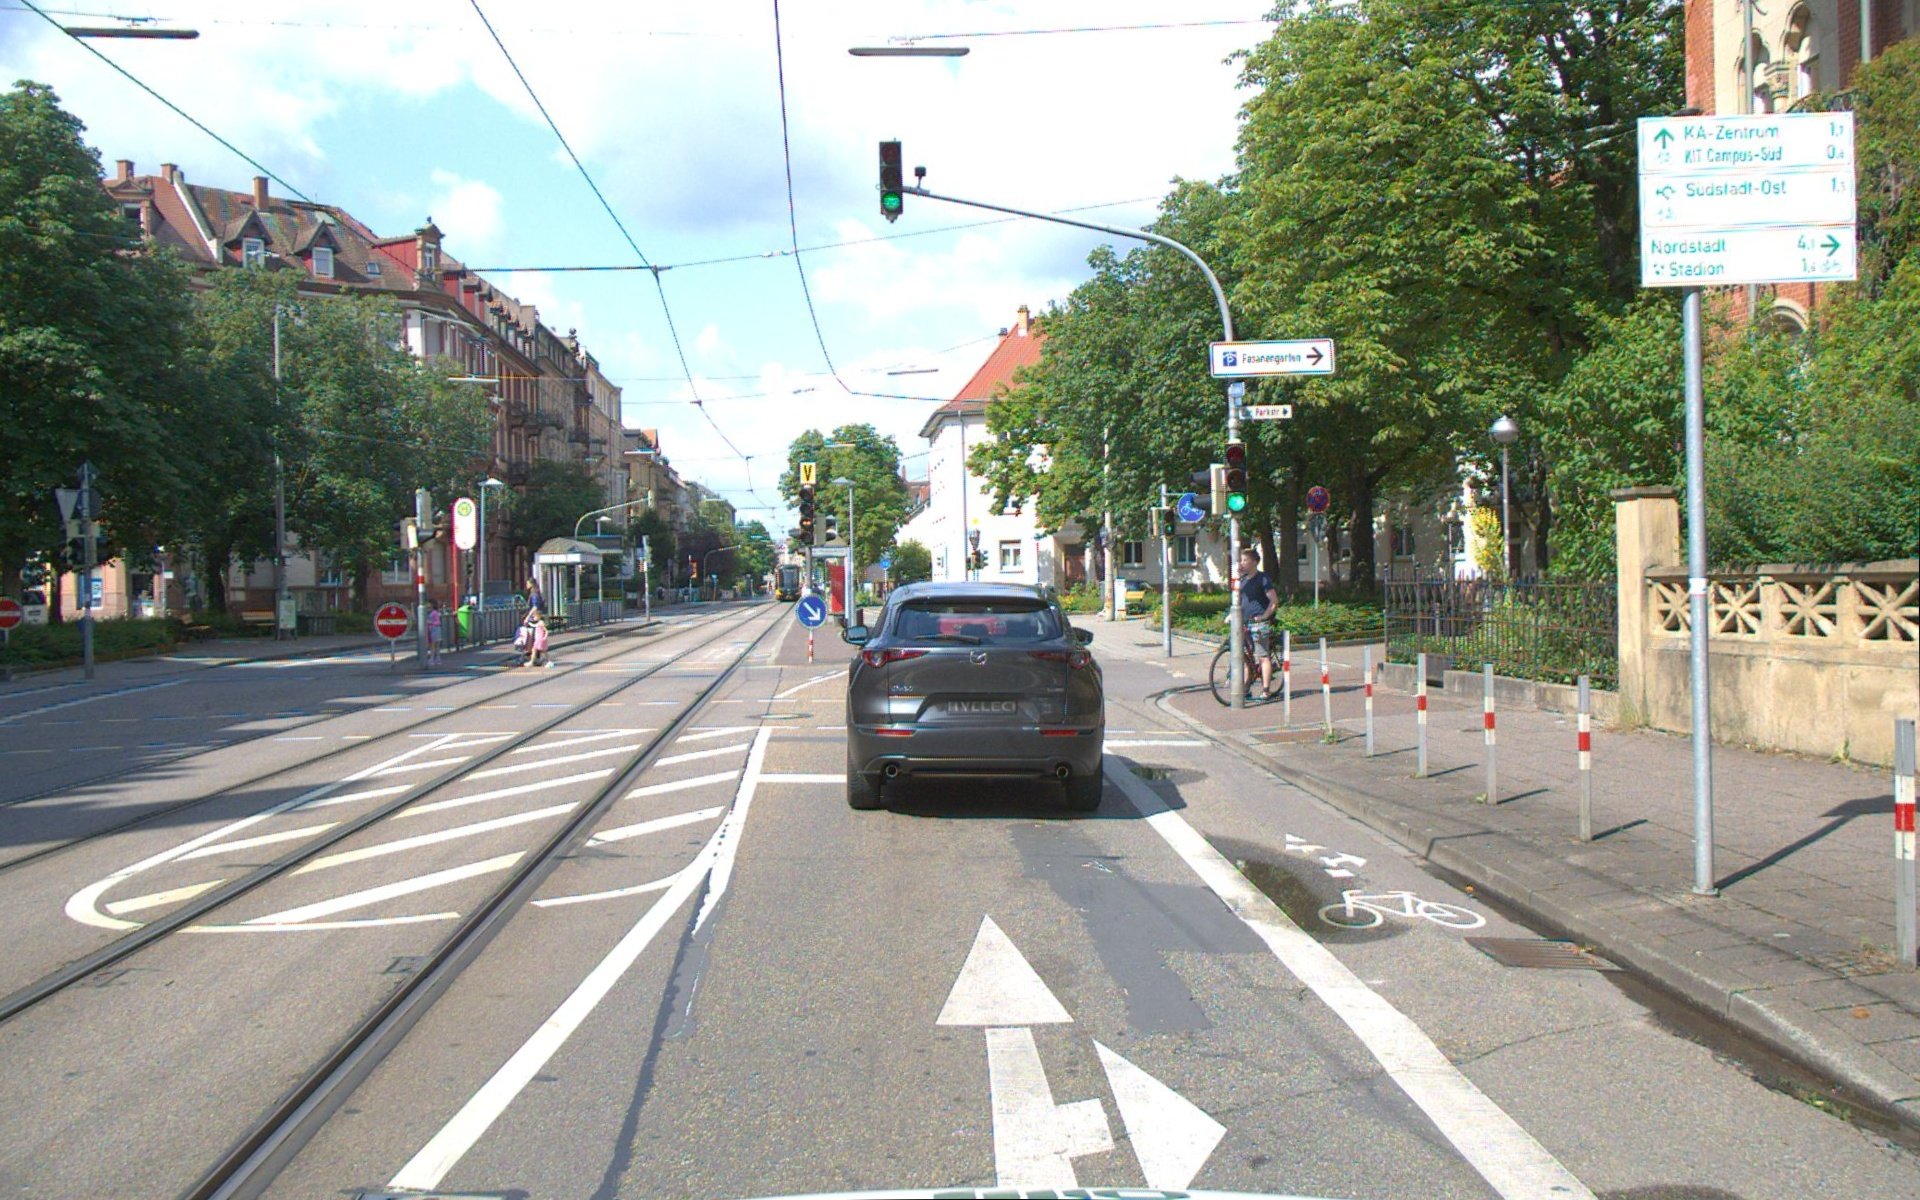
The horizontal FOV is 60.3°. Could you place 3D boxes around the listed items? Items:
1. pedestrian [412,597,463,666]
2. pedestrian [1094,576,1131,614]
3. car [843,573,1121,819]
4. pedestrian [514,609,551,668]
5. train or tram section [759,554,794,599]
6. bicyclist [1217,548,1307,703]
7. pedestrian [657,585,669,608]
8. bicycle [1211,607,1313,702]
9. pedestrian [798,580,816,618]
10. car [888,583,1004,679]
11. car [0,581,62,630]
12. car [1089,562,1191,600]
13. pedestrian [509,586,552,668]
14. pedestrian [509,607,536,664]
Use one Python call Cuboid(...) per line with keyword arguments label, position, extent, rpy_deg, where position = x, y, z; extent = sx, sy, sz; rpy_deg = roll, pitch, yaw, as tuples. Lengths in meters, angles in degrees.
Cuboid(label="pedestrian", position=(-10.532, 0.631, 33.370), extent=(0.810, 1.326, 0.716), rpy_deg=(-3, 1, -10))
Cuboid(label="pedestrian", position=(5.461, -0.193, 59.192), extent=(1.170, 1.291, 0.556), rpy_deg=(-4, 1, -10))
Cuboid(label="car", position=(0.115, 0.606, 12.515), extent=(1.746, 1.540, 3.999), rpy_deg=(1, 0, -1))
Cuboid(label="pedestrian", position=(-8.336, 0.745, 32.242), extent=(0.629, 1.133, 0.443), rpy_deg=(-1, 0, -10))
Cuboid(label="train or tram section", position=(-18.092, -2.224, 163.815), extent=(2.939, 4.053, 13.795), rpy_deg=(-1, 0, -4))
Cuboid(label="bicyclist", position=(3.714, 0.296, 20.387), extent=(0.724, 1.851, 0.813), rpy_deg=(-1, 0, -27))
Cuboid(label="pedestrian", position=(-22.354, -0.238, 124.368), extent=(0.772, 1.718, 0.731), rpy_deg=(-1, 0, -3))
Cuboid(label="bicycle", position=(3.759, 0.652, 20.501), extent=(0.382, 1.053, 1.836), rpy_deg=(-1, 1, 39))
Cuboid(label="pedestrian", position=(-6.812, -0.045, 73.749), extent=(0.756, 1.704, 0.667), rpy_deg=(-1, 0, -6))
Cuboid(label="car", position=(-0.297, 0.462, 27.512), extent=(1.740, 1.489, 3.840), rpy_deg=(0, 0, -3))
Cuboid(label="car", position=(-40.331, 0.243, 70.103), extent=(3.852, 2.023, 1.857), rpy_deg=(-1, 0, 19))
Cuboid(label="car", position=(7.857, -0.830, 72.377), extent=(4.090, 1.536, 1.844), rpy_deg=(-1, 2, 37))
Cuboid(label="pedestrian", position=(-8.511, 0.526, 32.809), extent=(0.714, 1.593, 0.797), rpy_deg=(-1, 0, -10))
Cuboid(label="pedestrian", position=(-8.865, 0.720, 33.540), extent=(0.429, 1.127, 0.422), rpy_deg=(-3, 1, -10))
